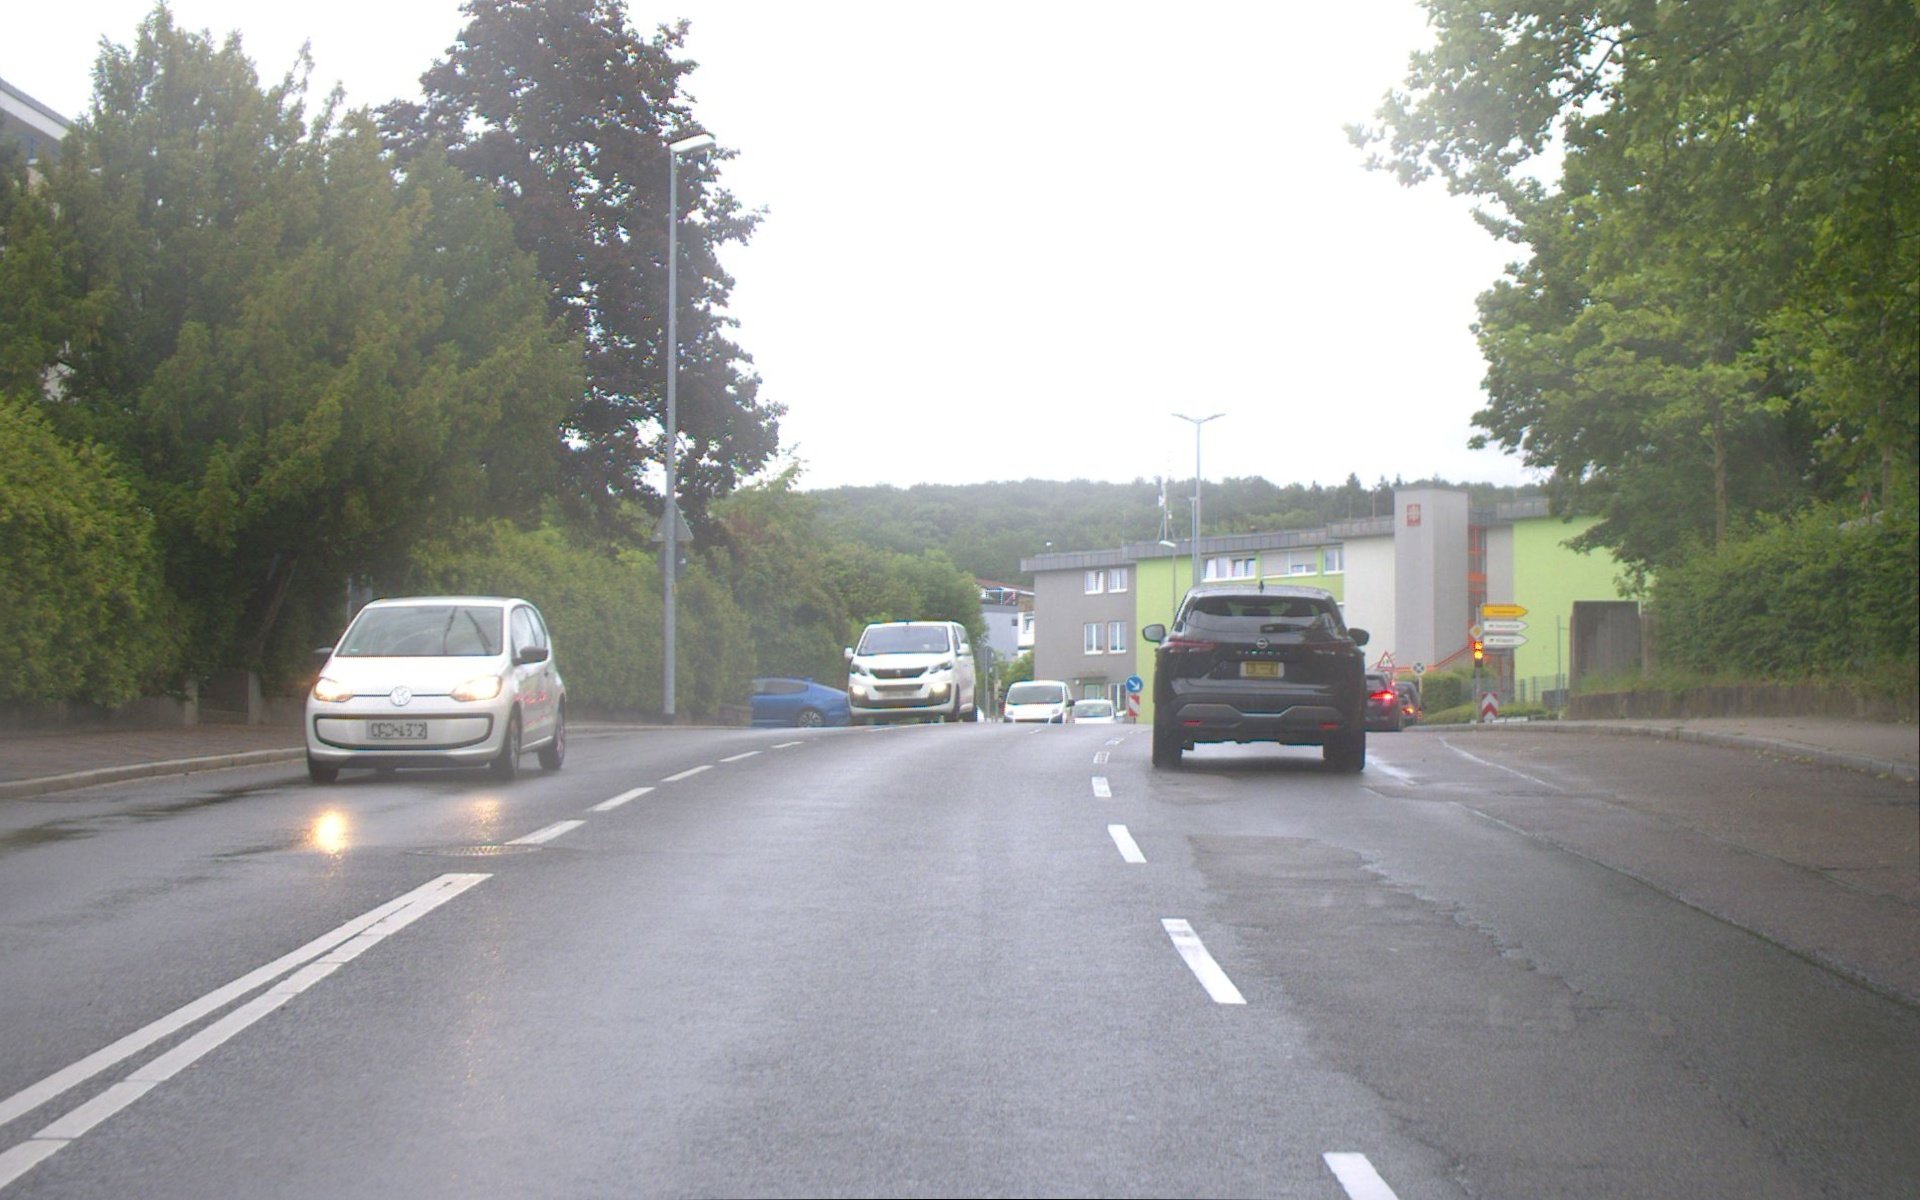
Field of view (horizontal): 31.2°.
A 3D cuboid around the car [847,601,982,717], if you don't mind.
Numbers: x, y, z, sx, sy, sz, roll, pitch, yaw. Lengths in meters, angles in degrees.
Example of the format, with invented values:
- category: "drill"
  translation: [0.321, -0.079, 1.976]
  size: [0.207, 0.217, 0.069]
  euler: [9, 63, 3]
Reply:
- category: "car"
  translation: [-0.770, 1.022, 61.301]
  size: [1.864, 1.910, 5.028]
  euler: [2, 0, 5]

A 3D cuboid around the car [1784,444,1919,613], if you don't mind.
- category: "car"
  translation: [13.009, -0.984, 47.521]
  size: [1.993, 2.219, 4.134]
  euler: [1, 1, -3]

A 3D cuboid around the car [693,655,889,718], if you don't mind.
- category: "car"
  translation: [-4.021, 2.071, 82.257]
  size: [4.483, 1.357, 1.805]
  euler: [2, -1, 3]

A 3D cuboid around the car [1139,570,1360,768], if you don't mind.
- category: "car"
  translation: [2.562, 0.563, 30.809]
  size: [1.790, 1.598, 4.252]
  euler: [2, 0, 4]

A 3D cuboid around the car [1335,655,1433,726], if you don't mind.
- category: "car"
  translation: [9.284, 1.966, 75.457]
  size: [1.994, 1.437, 3.999]
  euler: [1, 0, 5]

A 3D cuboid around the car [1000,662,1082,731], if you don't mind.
- category: "car"
  translation: [2.148, 2.561, 90.641]
  size: [1.701, 1.702, 3.977]
  euler: [3, -2, 7]

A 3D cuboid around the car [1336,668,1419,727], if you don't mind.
- category: "car"
  translation: [11.140, 2.581, 91.592]
  size: [1.994, 1.437, 3.998]
  euler: [1, 0, 9]

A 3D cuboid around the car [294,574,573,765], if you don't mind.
- category: "car"
  translation: [-4.213, 0.517, 27.959]
  size: [1.685, 1.449, 3.398]
  euler: [0, 0, 1]
